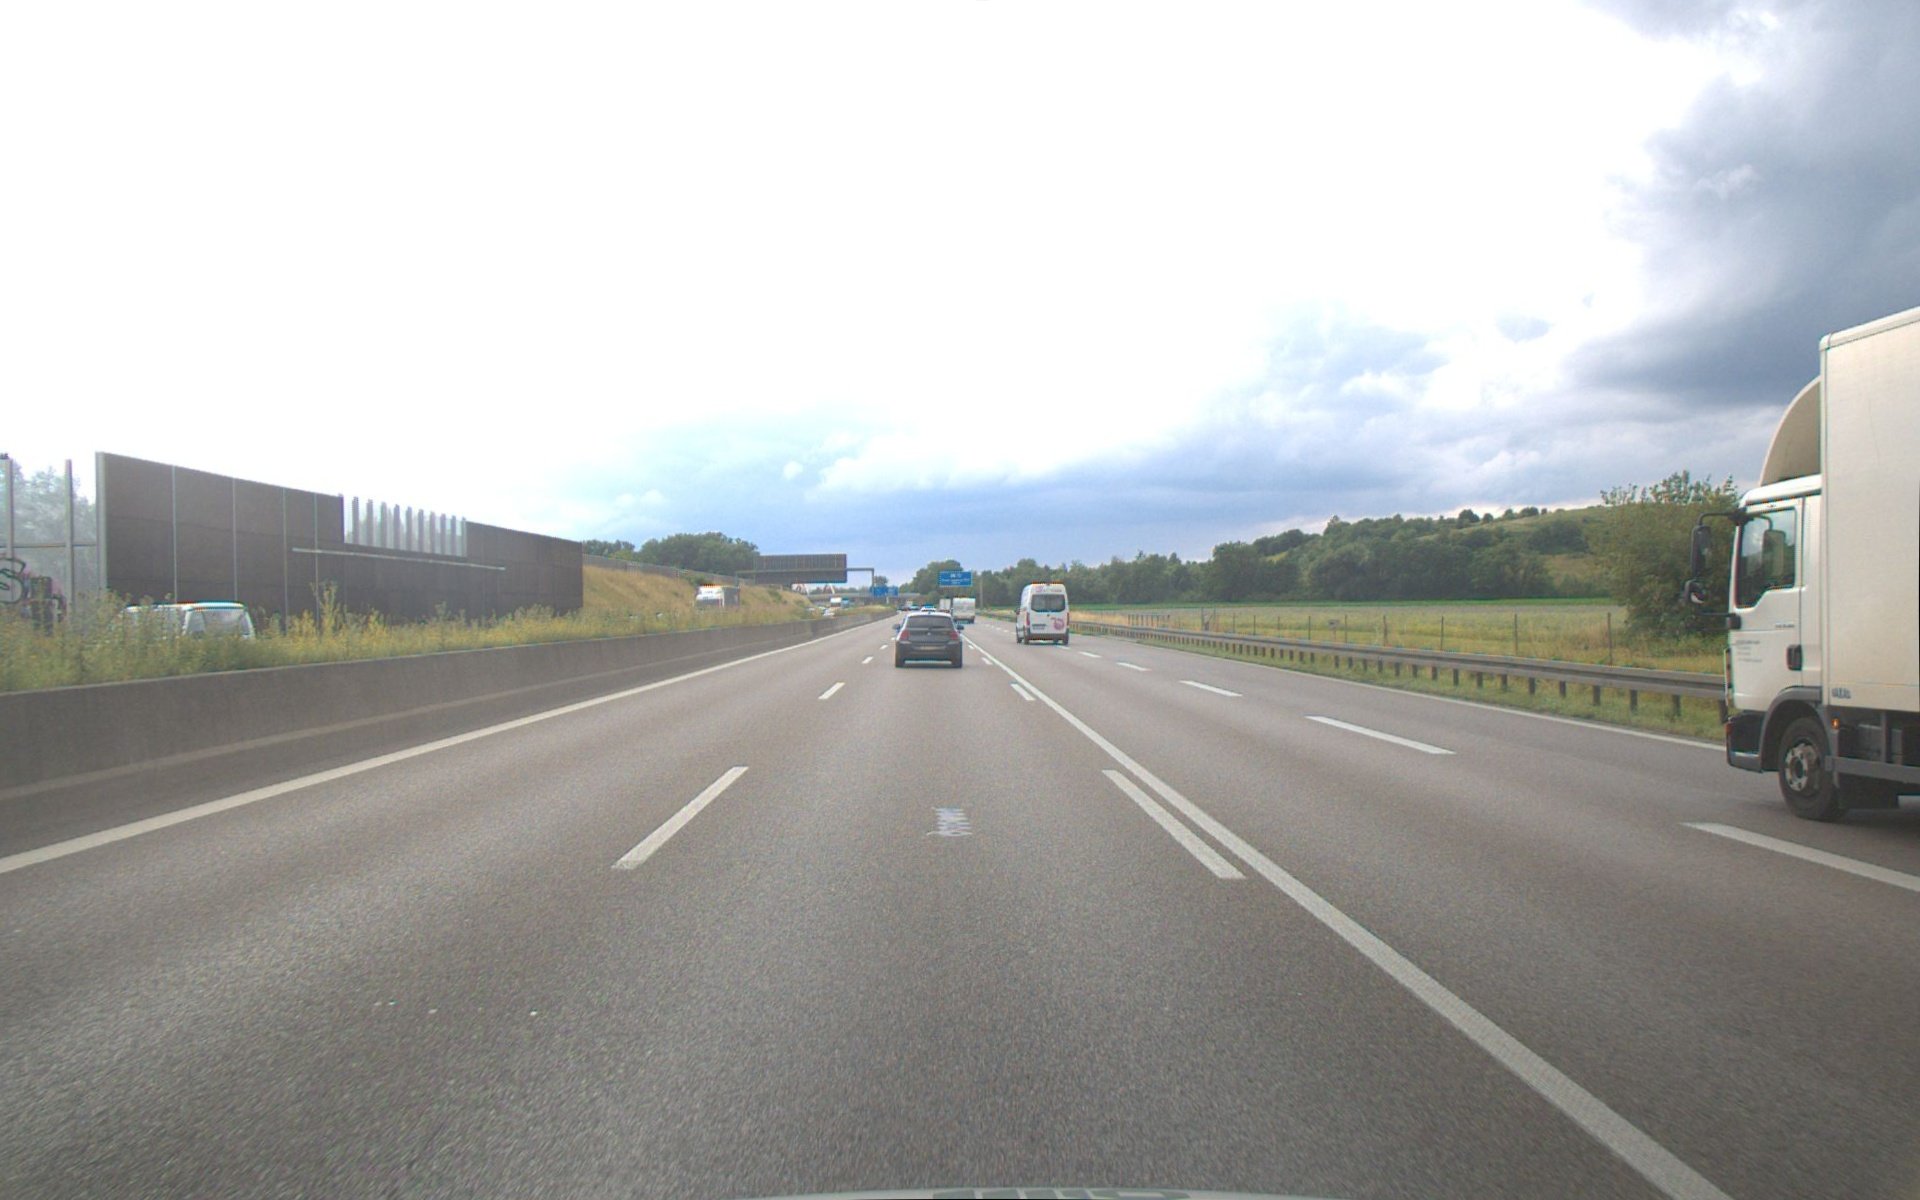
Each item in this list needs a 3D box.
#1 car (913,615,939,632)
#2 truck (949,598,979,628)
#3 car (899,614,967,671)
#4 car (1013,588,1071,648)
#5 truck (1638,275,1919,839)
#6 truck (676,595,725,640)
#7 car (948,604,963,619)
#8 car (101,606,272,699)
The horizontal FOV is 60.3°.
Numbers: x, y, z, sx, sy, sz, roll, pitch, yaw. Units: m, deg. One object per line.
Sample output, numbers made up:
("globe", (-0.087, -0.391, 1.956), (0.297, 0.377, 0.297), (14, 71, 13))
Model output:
("car", (-2.693, 1.835, 129.738), (1.953, 1.321, 3.998), (-1, -1, -2))
("truck", (0.371, 1.391, 174.223), (2.655, 3.016, 12.442), (2, -1, -1))
("car", (-0.731, 1.082, 43.835), (1.708, 1.413, 3.999), (1, 0, -1))
("car", (3.684, 0.832, 75.384), (2.176, 2.613, 6.254), (0, -1, -1))
("truck", (7.541, -0.246, 9.822), (3.042, 3.531, 8.886), (2, -1, -2))
("truck", (-24.494, 1.654, 156.352), (3.593, 4.017, 6.011), (2, -1, -1))
("car", (-0.635, 1.667, 233.958), (1.953, 2.049, 3.998), (-1, 0, -2))
("car", (-16.681, 1.080, 35.939), (1.692, 1.861, 4.718), (-1, 0, -3))
